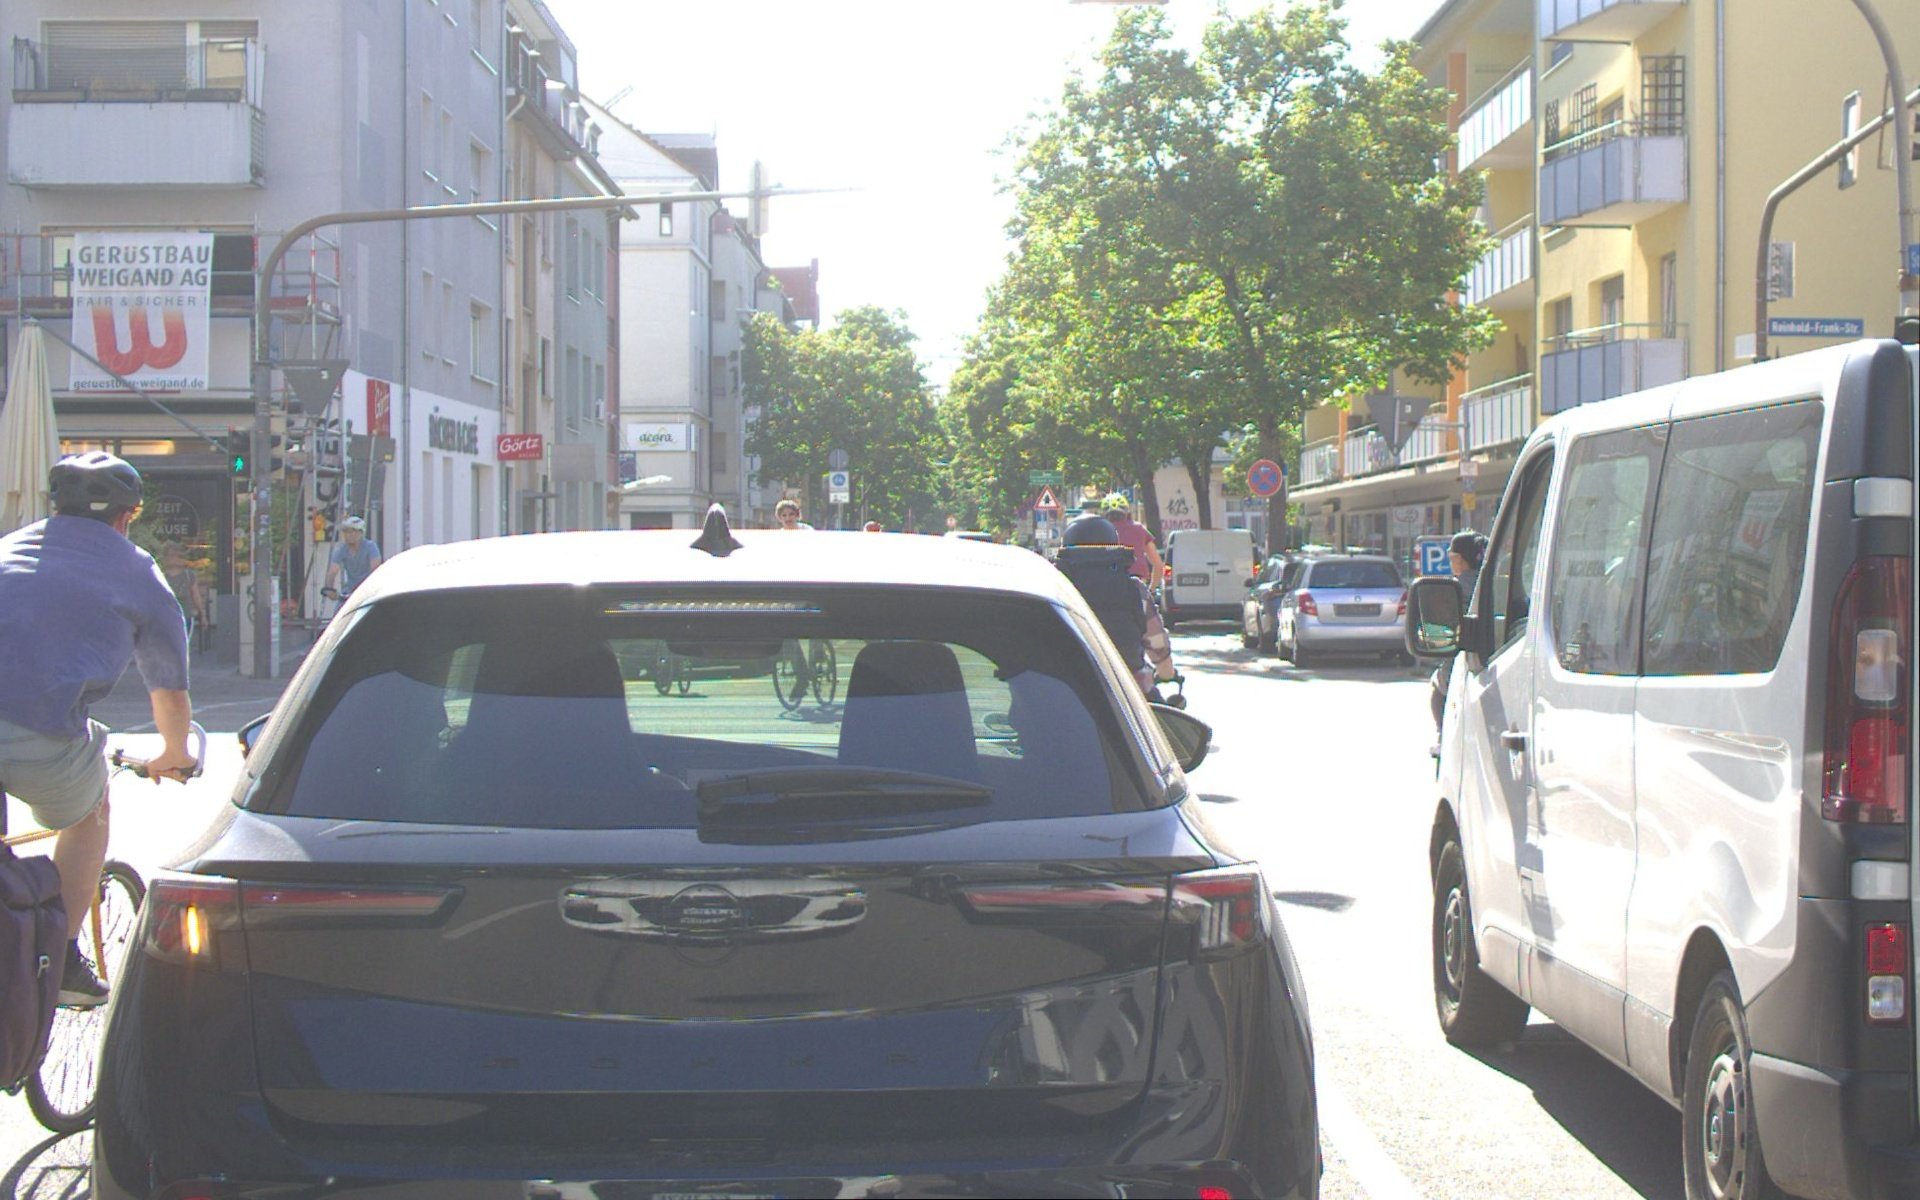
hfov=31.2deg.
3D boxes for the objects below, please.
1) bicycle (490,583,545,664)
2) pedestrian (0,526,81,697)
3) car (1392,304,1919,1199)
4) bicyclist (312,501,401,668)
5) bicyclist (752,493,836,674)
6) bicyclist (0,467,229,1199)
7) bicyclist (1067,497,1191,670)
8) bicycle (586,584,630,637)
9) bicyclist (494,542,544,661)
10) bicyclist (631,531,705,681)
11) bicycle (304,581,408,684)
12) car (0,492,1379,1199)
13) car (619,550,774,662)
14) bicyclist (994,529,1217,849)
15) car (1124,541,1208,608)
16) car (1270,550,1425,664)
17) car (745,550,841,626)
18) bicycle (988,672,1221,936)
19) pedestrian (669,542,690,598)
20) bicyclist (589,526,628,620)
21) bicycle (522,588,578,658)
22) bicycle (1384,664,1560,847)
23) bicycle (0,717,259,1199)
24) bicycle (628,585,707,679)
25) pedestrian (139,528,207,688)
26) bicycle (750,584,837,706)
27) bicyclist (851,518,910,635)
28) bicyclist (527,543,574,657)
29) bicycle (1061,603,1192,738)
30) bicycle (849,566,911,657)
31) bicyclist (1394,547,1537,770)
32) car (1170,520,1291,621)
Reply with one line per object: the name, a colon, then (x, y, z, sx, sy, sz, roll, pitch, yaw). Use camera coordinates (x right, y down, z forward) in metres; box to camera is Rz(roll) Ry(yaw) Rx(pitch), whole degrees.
bicycle: (-5.169, 0.268, 40.209, 0.542, 0.899, 1.826, 0, 1, -4)
pedestrian: (-9.148, 0.104, 34.212, 0.573, 1.683, 0.669, 0, 1, 6)
car: (2.434, 0.441, 8.577, 1.968, 1.933, 5.056, 1, 1, -1)
bicyclist: (-5.977, -0.160, 34.086, 0.679, 1.625, 0.899, -1, 1, 0)
bicyclist: (-1.507, -0.150, 31.313, 0.716, 1.614, 0.946, -1, 0, 0)
bicyclist: (-2.160, 0.530, 8.122, 0.632, 1.663, 1.050, -1, 1, -1)
bicyclist: (1.327, -0.138, 27.220, 0.856, 1.310, 1.210, 2, 1, -1)
bicycle: (-5.851, 0.171, 57.225, 0.553, 0.831, 2.132, 1, 1, -2)
bicyclist: (-5.169, 0.009, 40.279, 0.542, 1.386, 0.788, 0, 1, -4)
bicyclist: (-3.136, 0.057, 36.996, 0.679, 1.571, 0.899, -1, 1, 0)
bicycle: (-5.967, 0.310, 34.039, 0.679, 0.949, 1.934, -1, 1, 0)
car: (-0.375, 0.618, 6.361, 1.762, 1.553, 4.000, 0, 1, -1)
car: (-3.495, 0.046, 46.283, 1.837, 1.429, 4.177, 0, 1, -1)
bicyclist: (0.616, 0.364, 15.023, 0.856, 1.310, 1.210, 2, 1, -1)
car: (4.663, -0.601, 78.167, 1.712, 1.478, 3.381, 0, 1, 0)
car: (5.262, 0.070, 47.002, 1.712, 1.478, 3.480, 0, 1, 0)
car: (-3.305, -0.260, 68.224, 1.804, 1.408, 4.426, -2, 1, -2)
bicycle: (0.594, 0.849, 15.012, 0.856, 0.941, 2.307, 2, 1, -1)
pedestrian: (-7.882, -0.848, 96.595, 0.577, 1.577, 0.708, 0, 1, -6)
bicyclist: (-5.852, -0.457, 57.258, 0.553, 1.543, 0.814, 1, 1, -1)
bicycle: (-5.505, 0.296, 46.231, 0.542, 0.899, 1.826, 0, 1, 0)
bicycle: (2.733, 0.813, 18.511, 0.691, 0.863, 1.876, 0, 1, 1)
bicycle: (-2.158, 0.847, 8.157, 0.632, 1.037, 1.795, -1, 1, -1)
bicycle: (-3.134, 0.332, 36.992, 0.679, 0.949, 1.934, -1, 1, 0)
pedestrian: (-7.827, 0.078, 34.199, 0.531, 1.576, 0.563, 0, 1, 2)
bicycle: (-1.506, 0.395, 31.362, 0.716, 1.060, 1.872, -1, 1, 0)
bicyclist: (-1.123, -0.338, 48.868, 0.801, 1.644, 1.125, 0, 1, 0)
bicyclist: (-5.503, -0.008, 46.188, 0.542, 1.515, 0.774, 0, 1, 0)
bicycle: (1.292, 0.535, 27.148, 0.856, 0.941, 2.307, 2, 1, -1)
bicycle: (-1.135, 0.157, 48.991, 0.801, 1.251, 2.139, 0, 1, 1)
bicyclist: (2.732, 0.307, 18.625, 0.692, 1.189, 0.595, 0, 1, 1)
car: (5.072, -0.584, 64.987, 2.046, 1.840, 4.584, 0, 1, 2)
